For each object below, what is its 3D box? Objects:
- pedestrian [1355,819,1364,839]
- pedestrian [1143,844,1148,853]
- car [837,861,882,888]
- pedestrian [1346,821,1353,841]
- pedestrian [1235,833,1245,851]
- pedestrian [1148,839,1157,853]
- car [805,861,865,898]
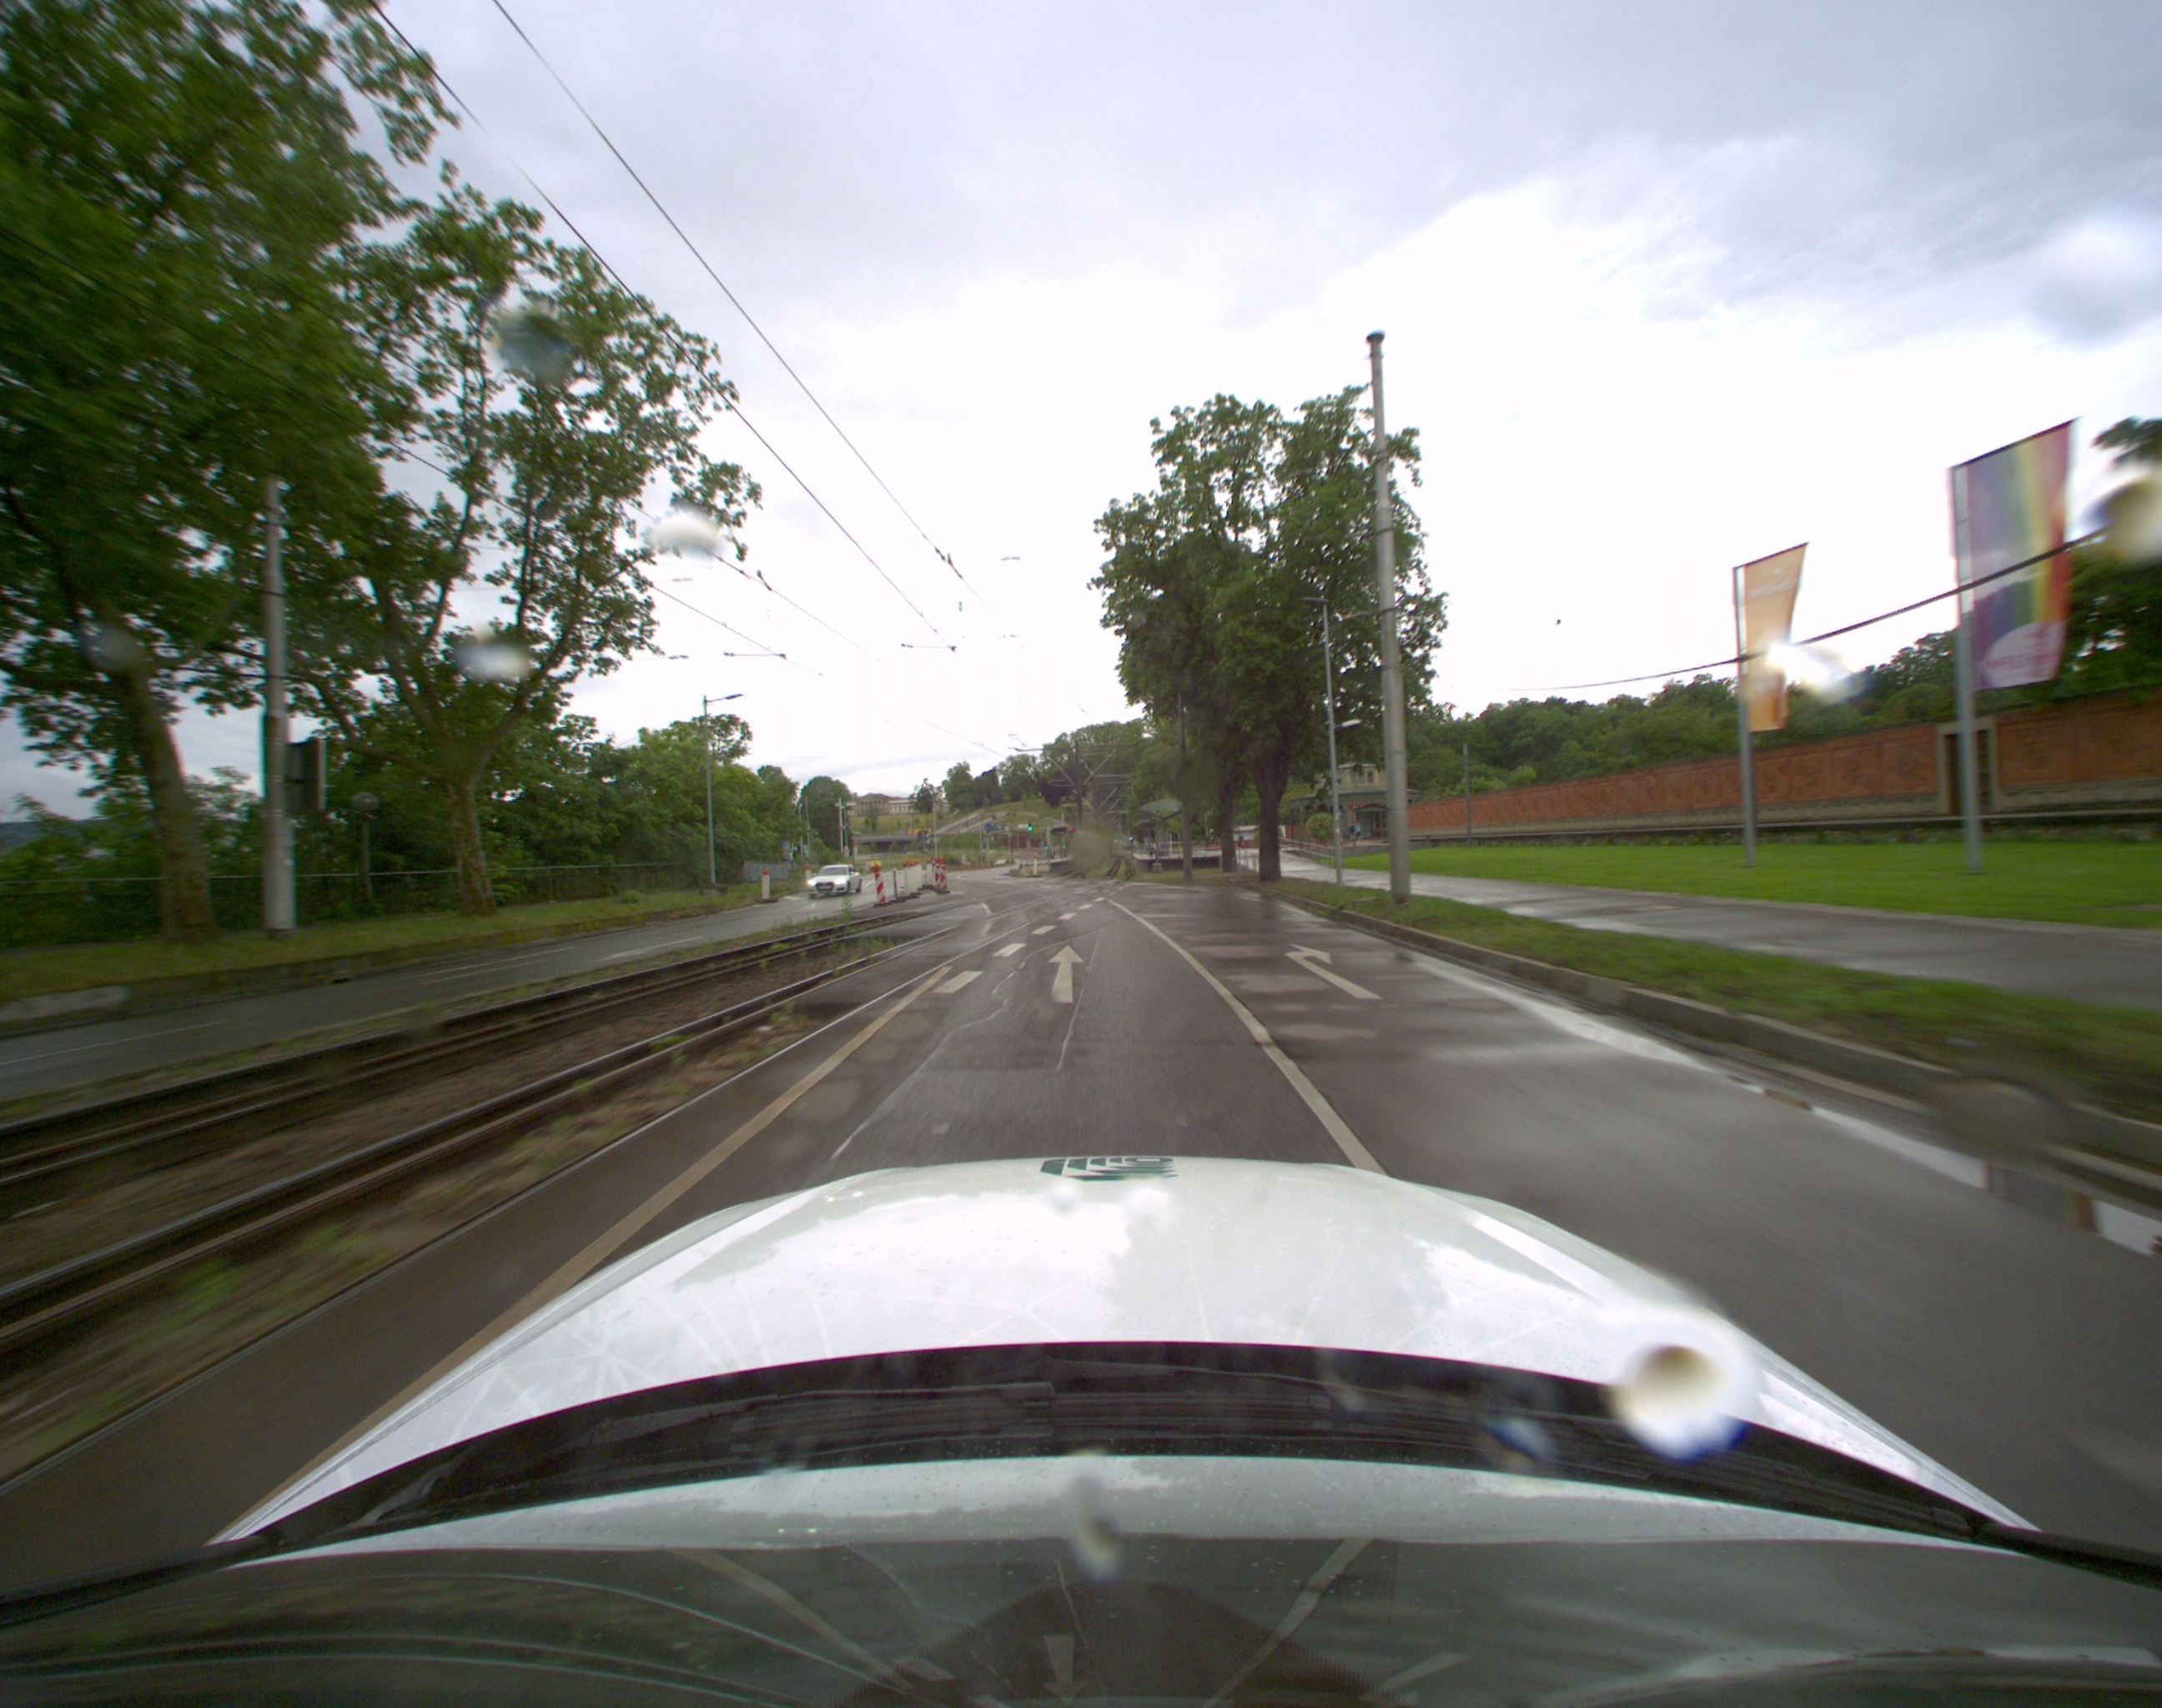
[{"bbox_3d":[24.553,-2.209,71.878,0.544,1.657,0.472,-3,-1,37],"label":"pedestrian"},{"bbox_3d":[7.461,-0.597,93.986,0.435,1.009,0.552,-4,0,3],"label":"pedestrian"},{"bbox_3d":[-14.298,1.271,52.826,1.704,1.498,4.315,-4,0,0],"label":"car"},{"bbox_3d":[23.905,-2.042,72.480,0.527,1.711,0.698,-1,-2,14],"label":"pedestrian"},{"bbox_3d":[16.666,-1.261,85.310,0.717,1.790,1.183,-4,0,3],"label":"pedestrian"},{"bbox_3d":[5.737,-0.634,65.132,0.600,1.119,0.518,2,-1,-13],"label":"pedestrian"},{"bbox_3d":[-11.736,1.169,39.169,1.706,1.498,4.711,-4,0,-5],"label":"car"}]
